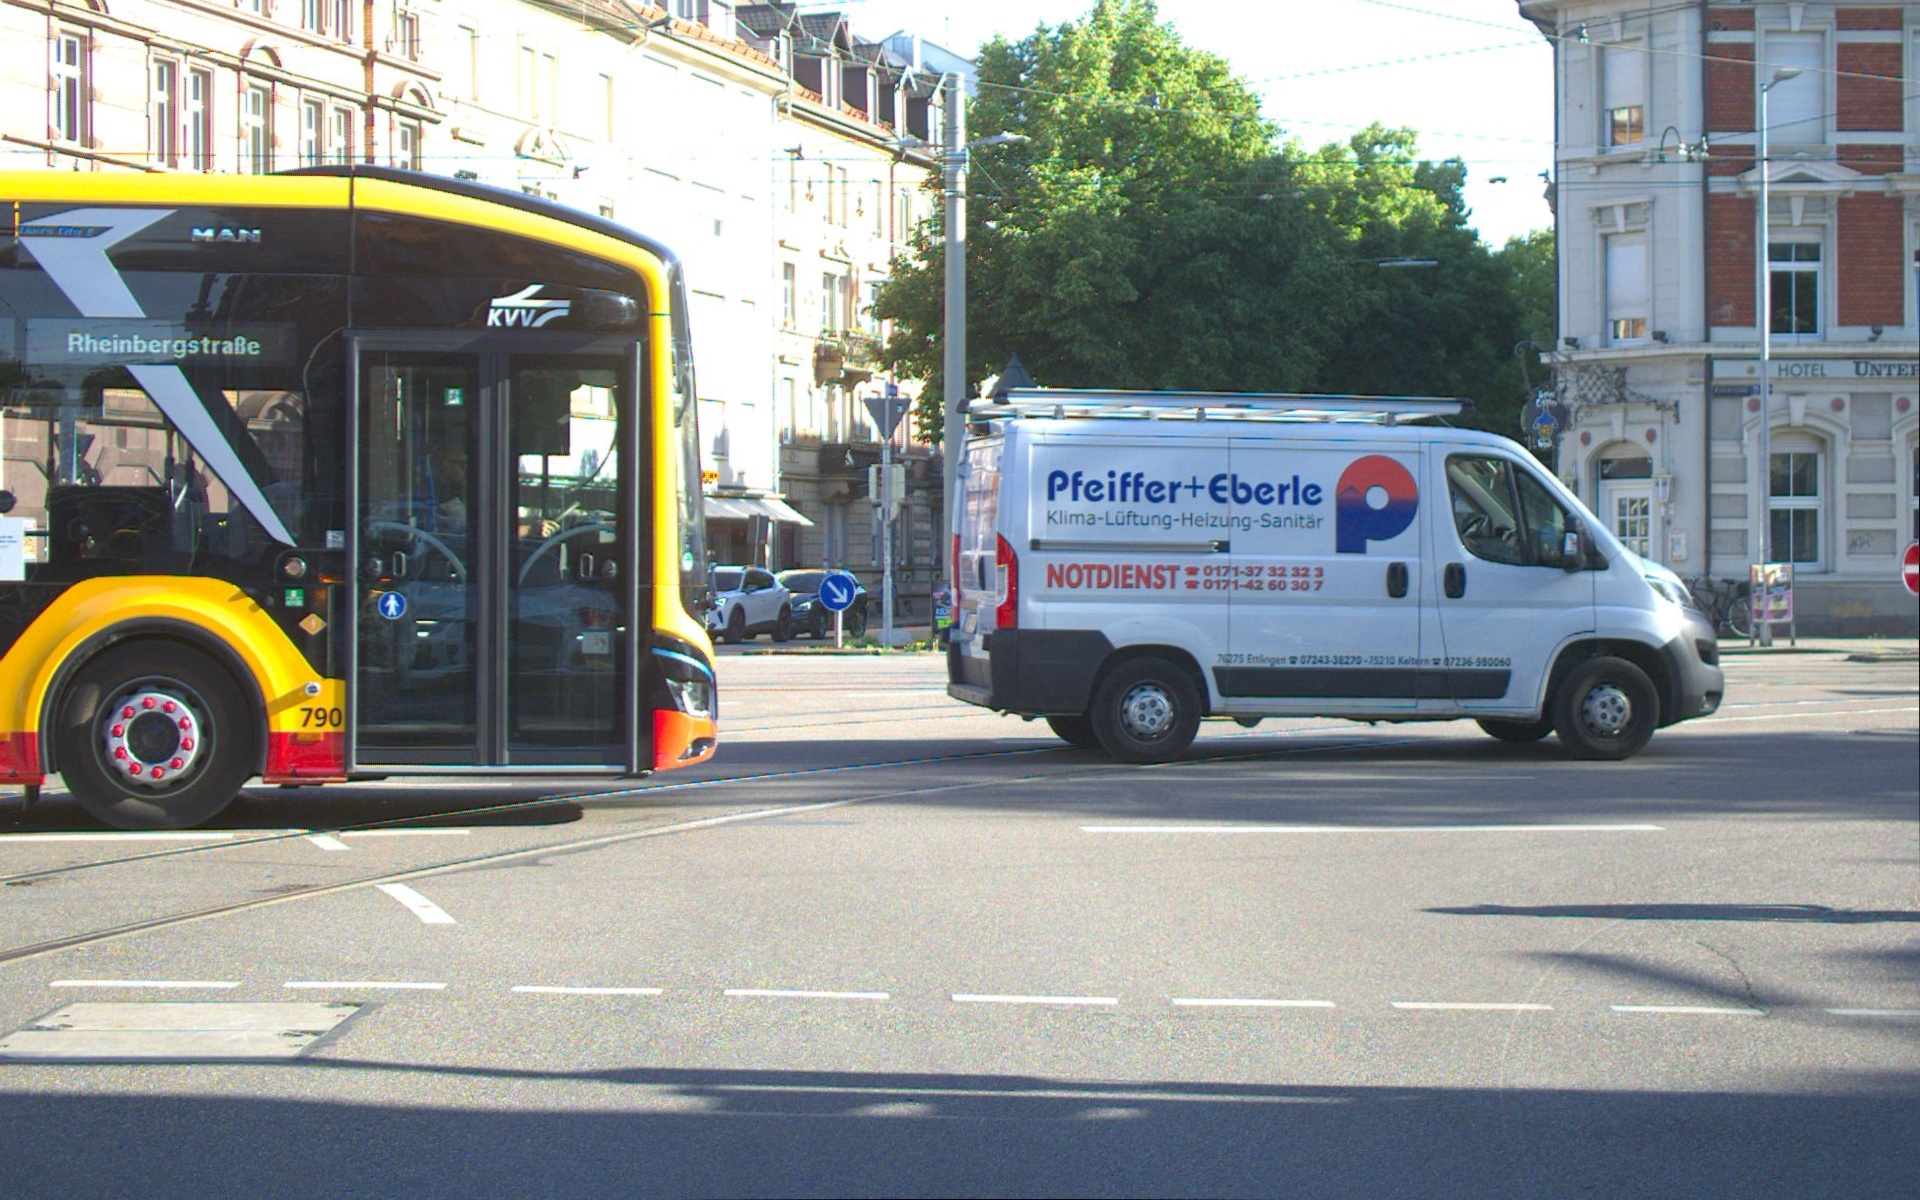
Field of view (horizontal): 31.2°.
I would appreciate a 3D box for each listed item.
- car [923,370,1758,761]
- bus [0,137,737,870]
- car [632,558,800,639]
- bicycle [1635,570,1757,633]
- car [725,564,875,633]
[{"bbox_3d":[2.425,-0.225,22.667,5.110,2.424,2.081,0,1,-8],"label":"car"},{"bbox_3d":[-5.942,-0.519,17.445,9.409,3.445,2.781,1,2,-7],"label":"bus"},{"bbox_3d":[-4.750,-0.058,67.482,1.995,1.511,4.166,0,1,16],"label":"car"},{"bbox_3d":[12.272,0.022,57.355,1.953,1.050,0.715,0,1,10],"label":"bicycle"},{"bbox_3d":[-3.397,-0.046,73.656,1.995,1.400,4.166,0,1,16],"label":"car"}]
